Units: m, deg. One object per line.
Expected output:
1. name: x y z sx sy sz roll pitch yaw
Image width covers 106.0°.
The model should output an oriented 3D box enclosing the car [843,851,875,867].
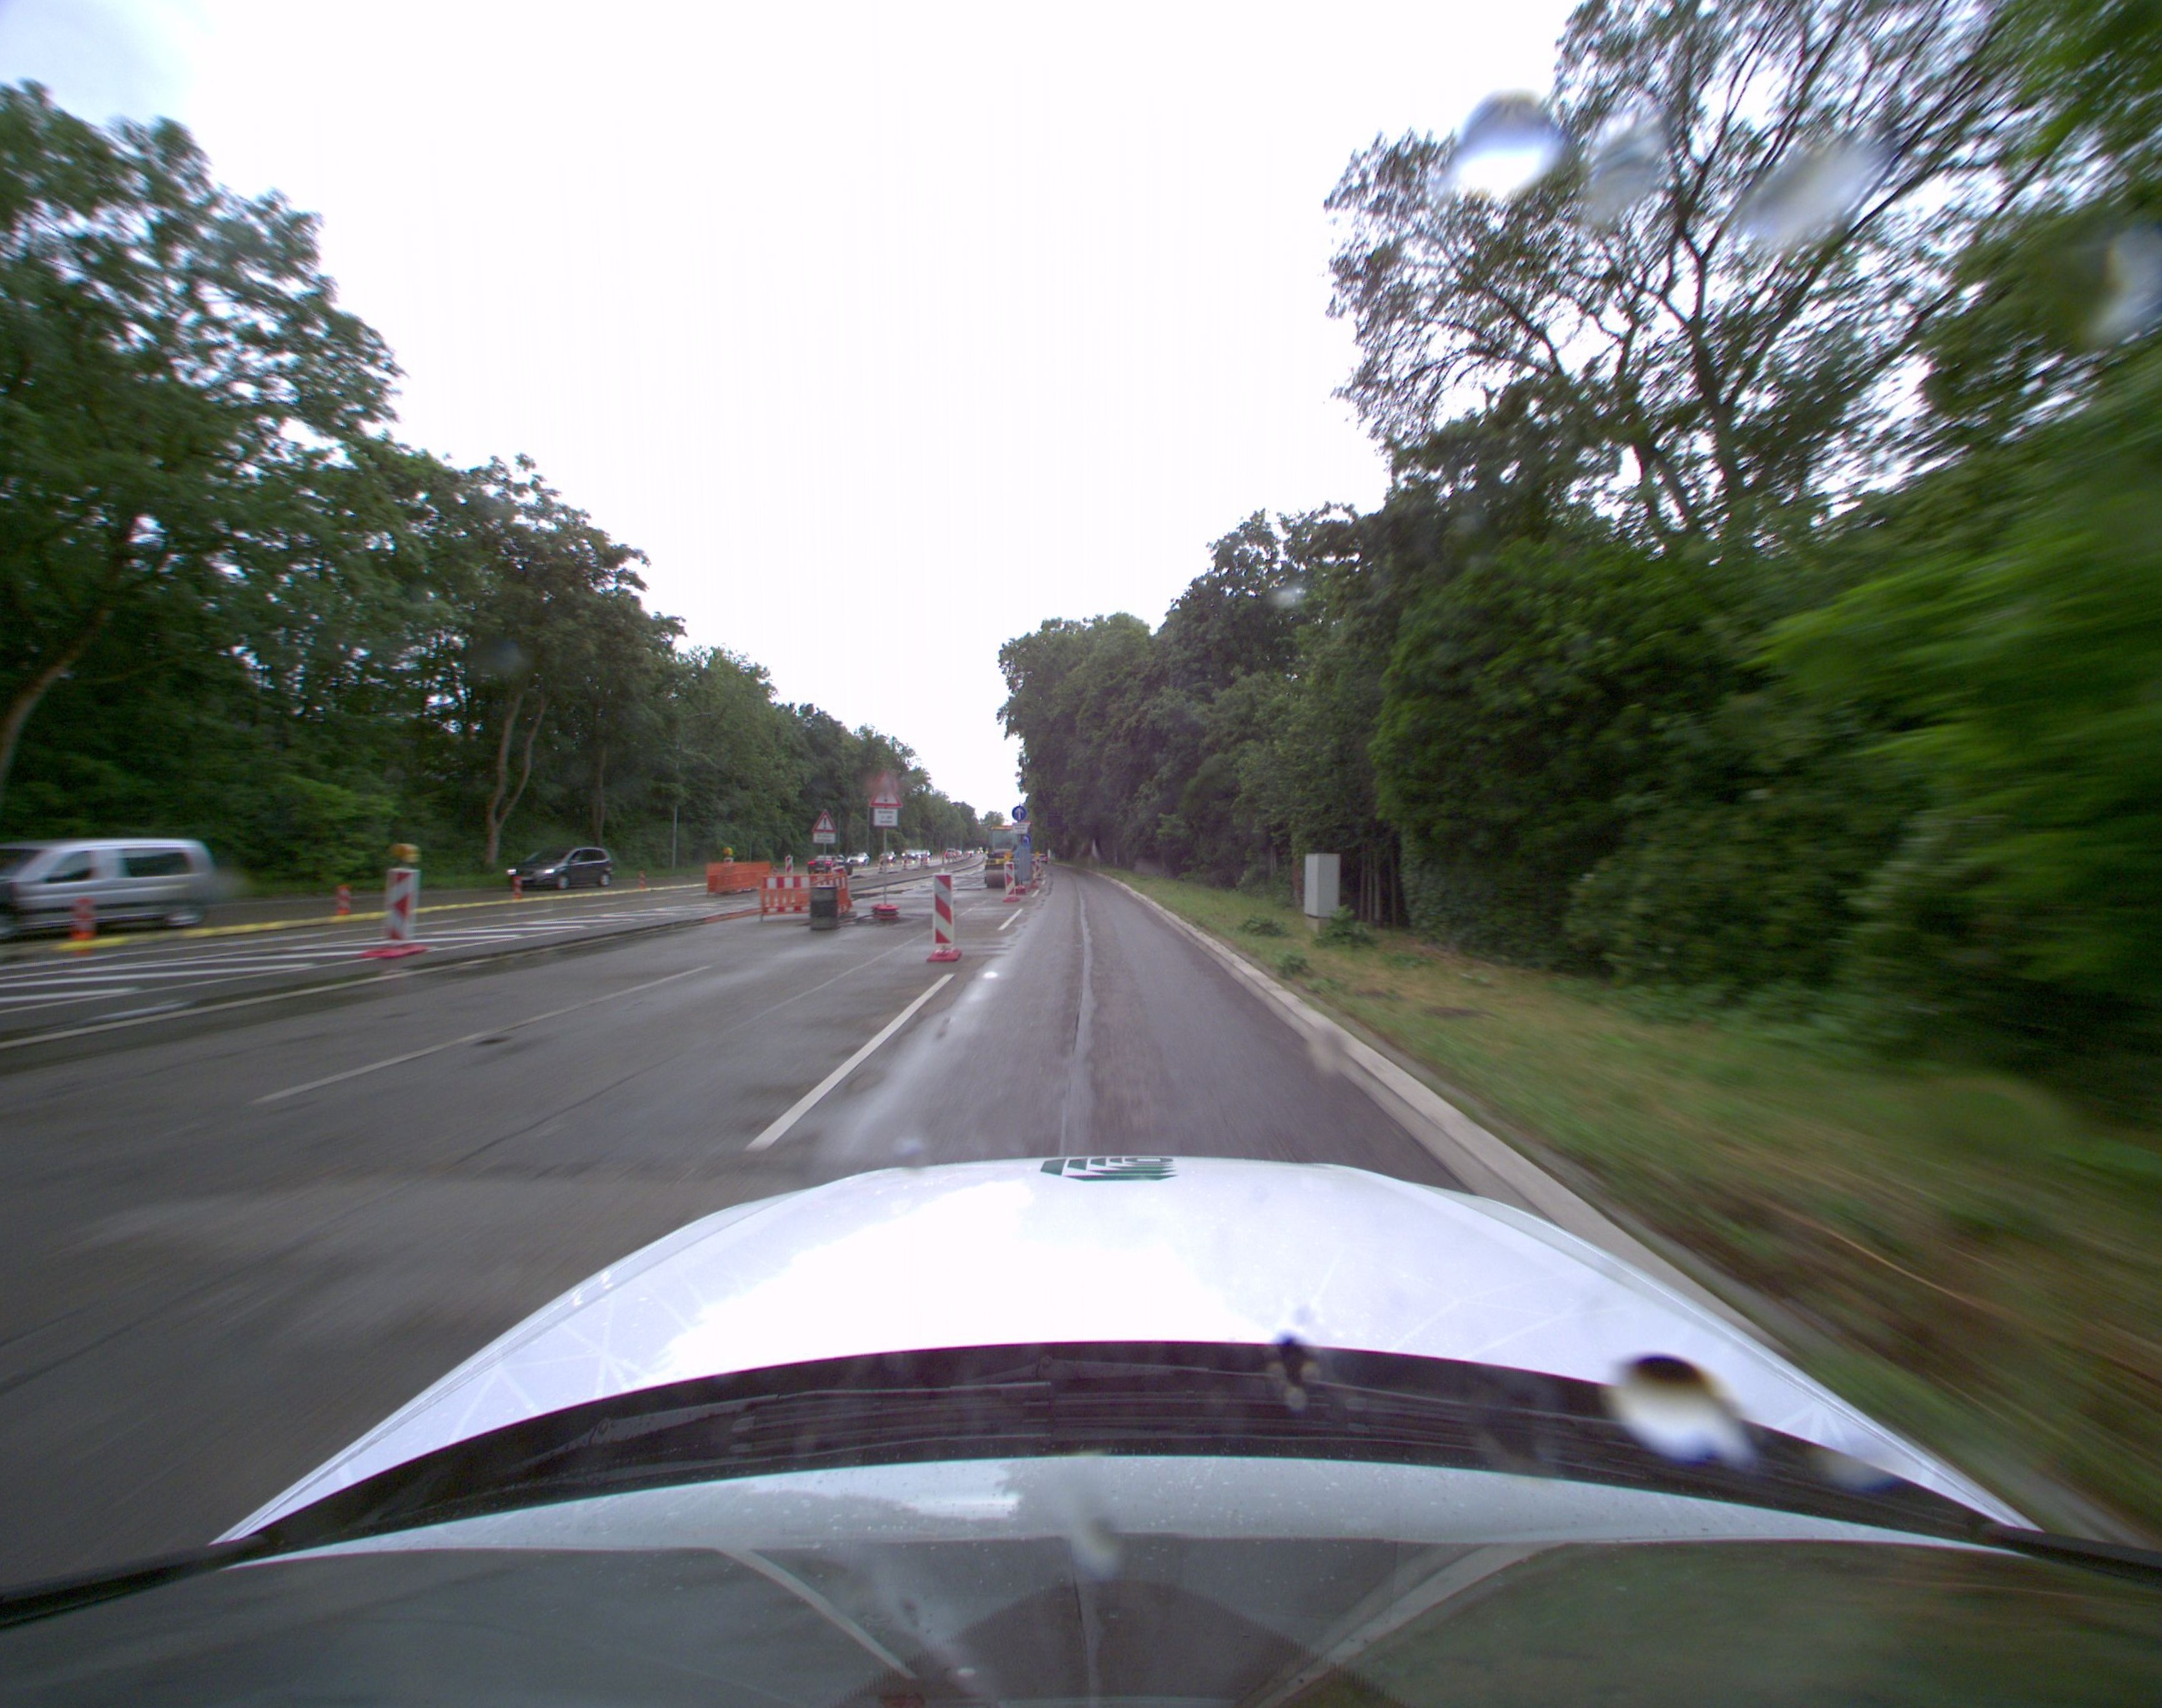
1. car: -22.884 0.491 84.066 1.920 1.665 4.653 0 0 1

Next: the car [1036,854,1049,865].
1. car: -6.046 0.815 127.143 1.910 1.598 4.827 1 1 -4

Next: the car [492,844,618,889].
1. car: -20.896 0.472 32.613 1.920 1.665 4.653 0 0 1

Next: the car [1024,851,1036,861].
1. car: -7.864 0.338 124.595 1.753 1.344 3.995 2 1 -4

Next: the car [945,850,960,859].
1. car: -24.635 0.104 156.355 1.920 1.778 4.653 0 0 1

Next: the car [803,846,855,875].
1. car: -15.363 0.363 49.771 1.856 1.491 4.001 2 3 0

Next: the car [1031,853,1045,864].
1. car: -5.655 0.581 106.699 1.753 1.344 3.995 2 1 -4

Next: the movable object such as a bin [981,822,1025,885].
1. movable object such as a bin: -3.654 -0.020 38.771 1.741 2.867 3.533 0 0 0

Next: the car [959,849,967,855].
1. car: -27.635 -0.467 190.534 1.567 1.457 3.366 3 1 -13

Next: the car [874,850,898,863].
1. car: -25.355 0.271 106.210 1.920 1.665 4.653 0 0 1

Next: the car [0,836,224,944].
1. car: -17.713 0.572 14.062 1.422 1.695 4.129 -1 0 0

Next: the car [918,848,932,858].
1. car: -28.057 -0.172 146.397 1.923 1.665 4.647 0 0 -3

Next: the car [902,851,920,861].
1. car: -27.705 0.291 133.055 1.920 1.665 4.653 0 0 1
